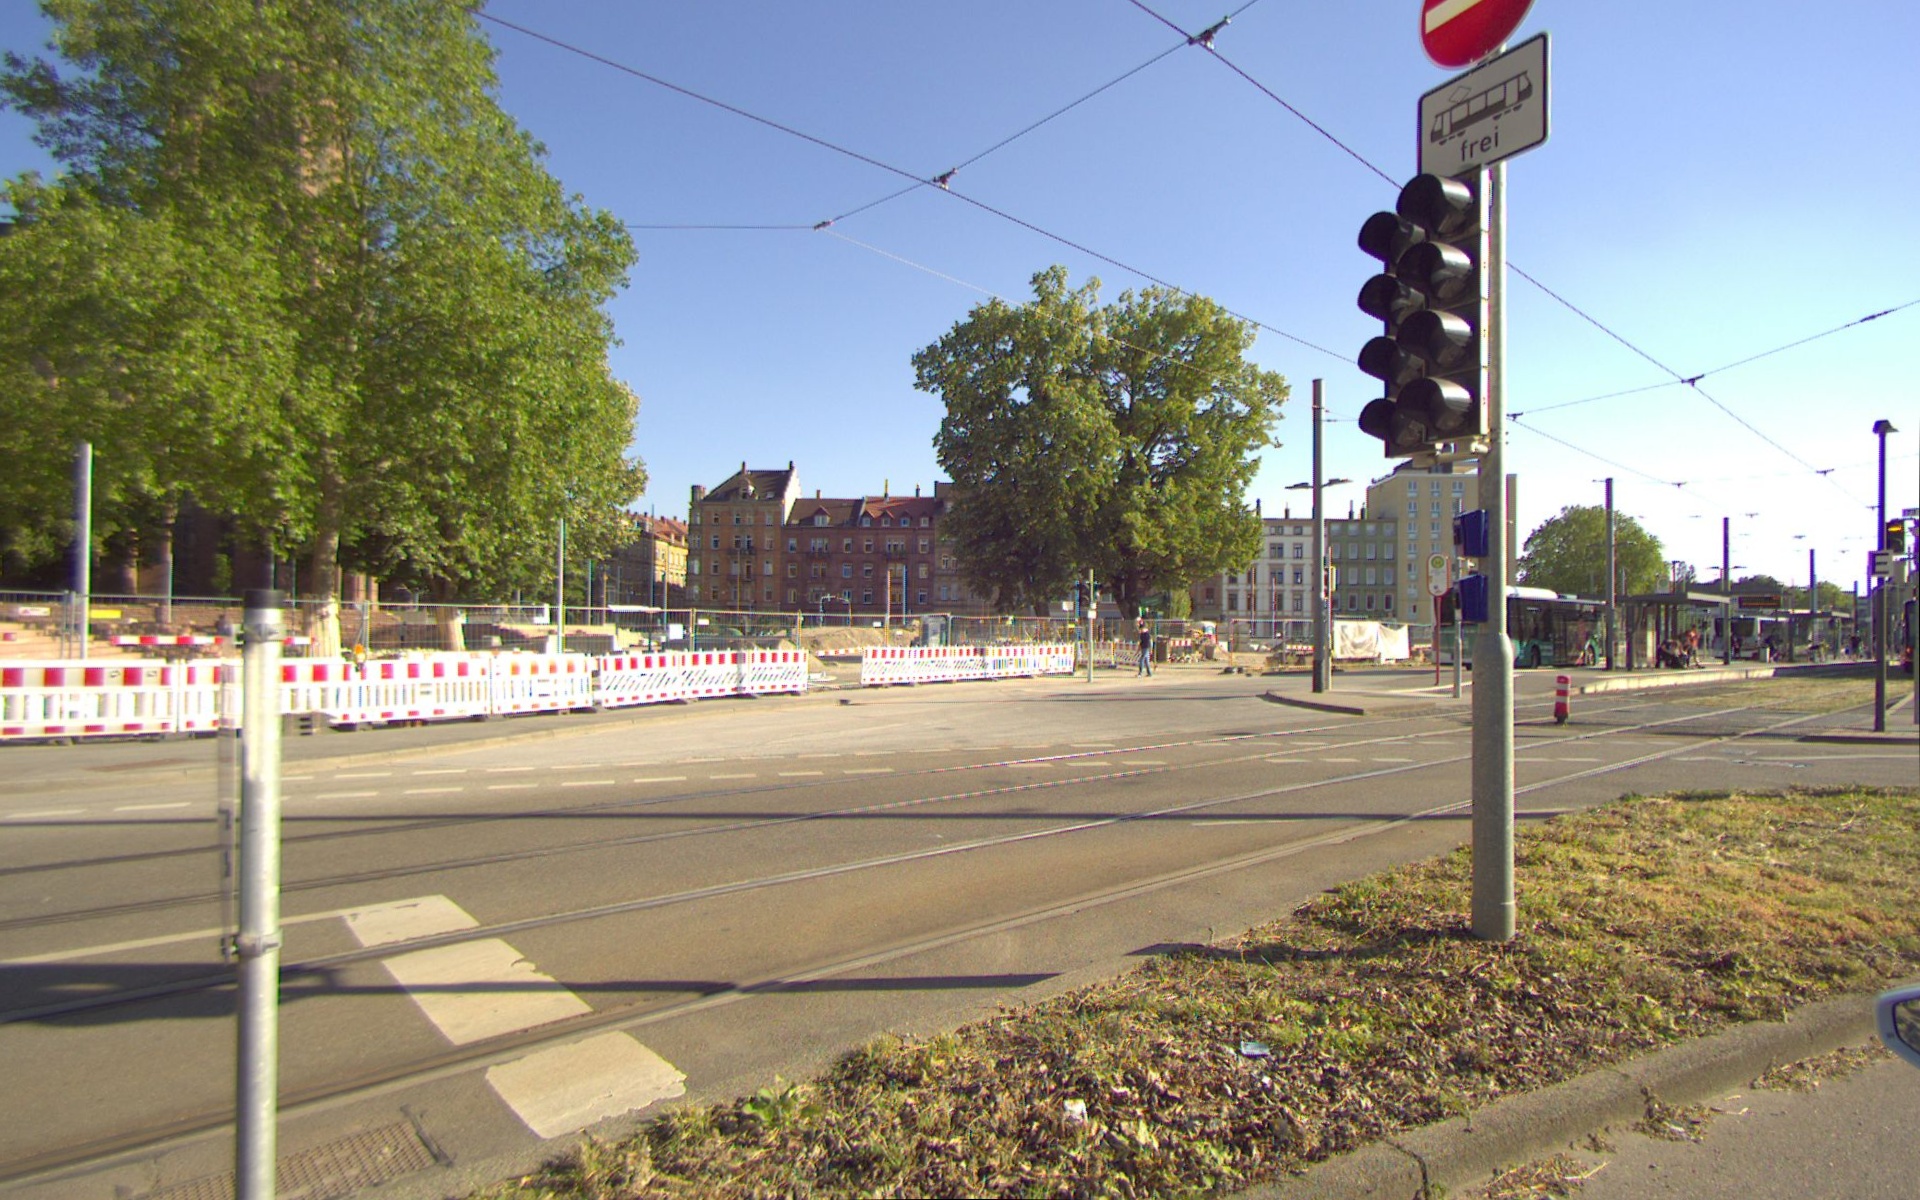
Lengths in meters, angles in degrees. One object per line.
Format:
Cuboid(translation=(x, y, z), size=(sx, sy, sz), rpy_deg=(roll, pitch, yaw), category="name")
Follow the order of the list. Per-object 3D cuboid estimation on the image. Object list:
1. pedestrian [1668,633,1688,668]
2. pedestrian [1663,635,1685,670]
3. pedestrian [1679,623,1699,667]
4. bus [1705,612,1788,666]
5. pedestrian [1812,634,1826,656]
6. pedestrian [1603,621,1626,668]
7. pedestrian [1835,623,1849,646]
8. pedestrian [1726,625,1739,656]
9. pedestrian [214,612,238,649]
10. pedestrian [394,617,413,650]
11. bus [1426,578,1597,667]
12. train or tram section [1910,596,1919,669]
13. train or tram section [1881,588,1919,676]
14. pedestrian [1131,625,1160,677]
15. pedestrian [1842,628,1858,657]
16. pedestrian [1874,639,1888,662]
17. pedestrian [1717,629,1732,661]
Cuboid(translation=(28.179, 1.985, 39.407), size=(0.564, 1.363, 0.636), rpy_deg=(-1, -2, 43), category="pedestrian")
Cuboid(translation=(27.670, 2.021, 38.931), size=(0.609, 1.358, 0.438), rpy_deg=(-1, -2, 44), category="pedestrian")
Cuboid(translation=(29.558, 1.814, 40.727), size=(0.564, 1.772, 0.636), rpy_deg=(-1, -2, 43), category="pedestrian")
Cuboid(translation=(53.958, 2.635, 68.748), size=(13.376, 3.317, 2.694), rpy_deg=(2, 0, -44), category="bus")
Cuboid(translation=(68.580, 3.601, 80.182), size=(0.634, 1.772, 0.728), rpy_deg=(2, -2, -37), category="pedestrian")
Cuboid(translation=(25.068, 1.701, 38.472), size=(0.554, 1.772, 0.534), rpy_deg=(2, -2, -35), category="pedestrian")
Cuboid(translation=(69.470, 2.726, 79.117), size=(0.636, 1.772, 0.726), rpy_deg=(2, -2, -45), category="pedestrian")
Cuboid(translation=(44.605, 2.358, 57.978), size=(0.564, 1.772, 0.636), rpy_deg=(-1, -2, 41), category="pedestrian")
Cuboid(translation=(-33.369, 1.400, 45.684), size=(0.665, 1.669, 0.635), rpy_deg=(1, -1, -18), category="pedestrian")
Cuboid(translation=(-27.904, 1.670, 50.403), size=(0.751, 1.669, 0.671), rpy_deg=(1, -1, -26), category="pedestrian")
Cuboid(translation=(21.998, 0.902, 39.749), size=(9.564, 3.177, 2.631), rpy_deg=(2, 0, -40), category="bus")
Cuboid(translation=(53.889, 1.822, 53.779), size=(12.100, 3.644, 2.987), rpy_deg=(2, 0, -40), category="train or tram section")
Cuboid(translation=(44.752, 1.494, 45.826), size=(12.108, 3.644, 2.855), rpy_deg=(2, 0, -42), category="train or tram section")
Cuboid(translation=(6.352, 1.752, 34.366), size=(0.699, 1.719, 0.899), rpy_deg=(-1, -4, 33), category="pedestrian")
Cuboid(translation=(54.504, 2.604, 61.504), size=(0.629, 1.772, 0.570), rpy_deg=(-1, -2, 34), category="pedestrian")
Cuboid(translation=(72.402, 3.957, 78.959), size=(0.634, 1.772, 0.728), rpy_deg=(2, -2, -37), category="pedestrian")
Cuboid(translation=(42.809, 2.510, 56.261), size=(0.629, 1.772, 0.570), rpy_deg=(-1, -2, 34), category="pedestrian")
